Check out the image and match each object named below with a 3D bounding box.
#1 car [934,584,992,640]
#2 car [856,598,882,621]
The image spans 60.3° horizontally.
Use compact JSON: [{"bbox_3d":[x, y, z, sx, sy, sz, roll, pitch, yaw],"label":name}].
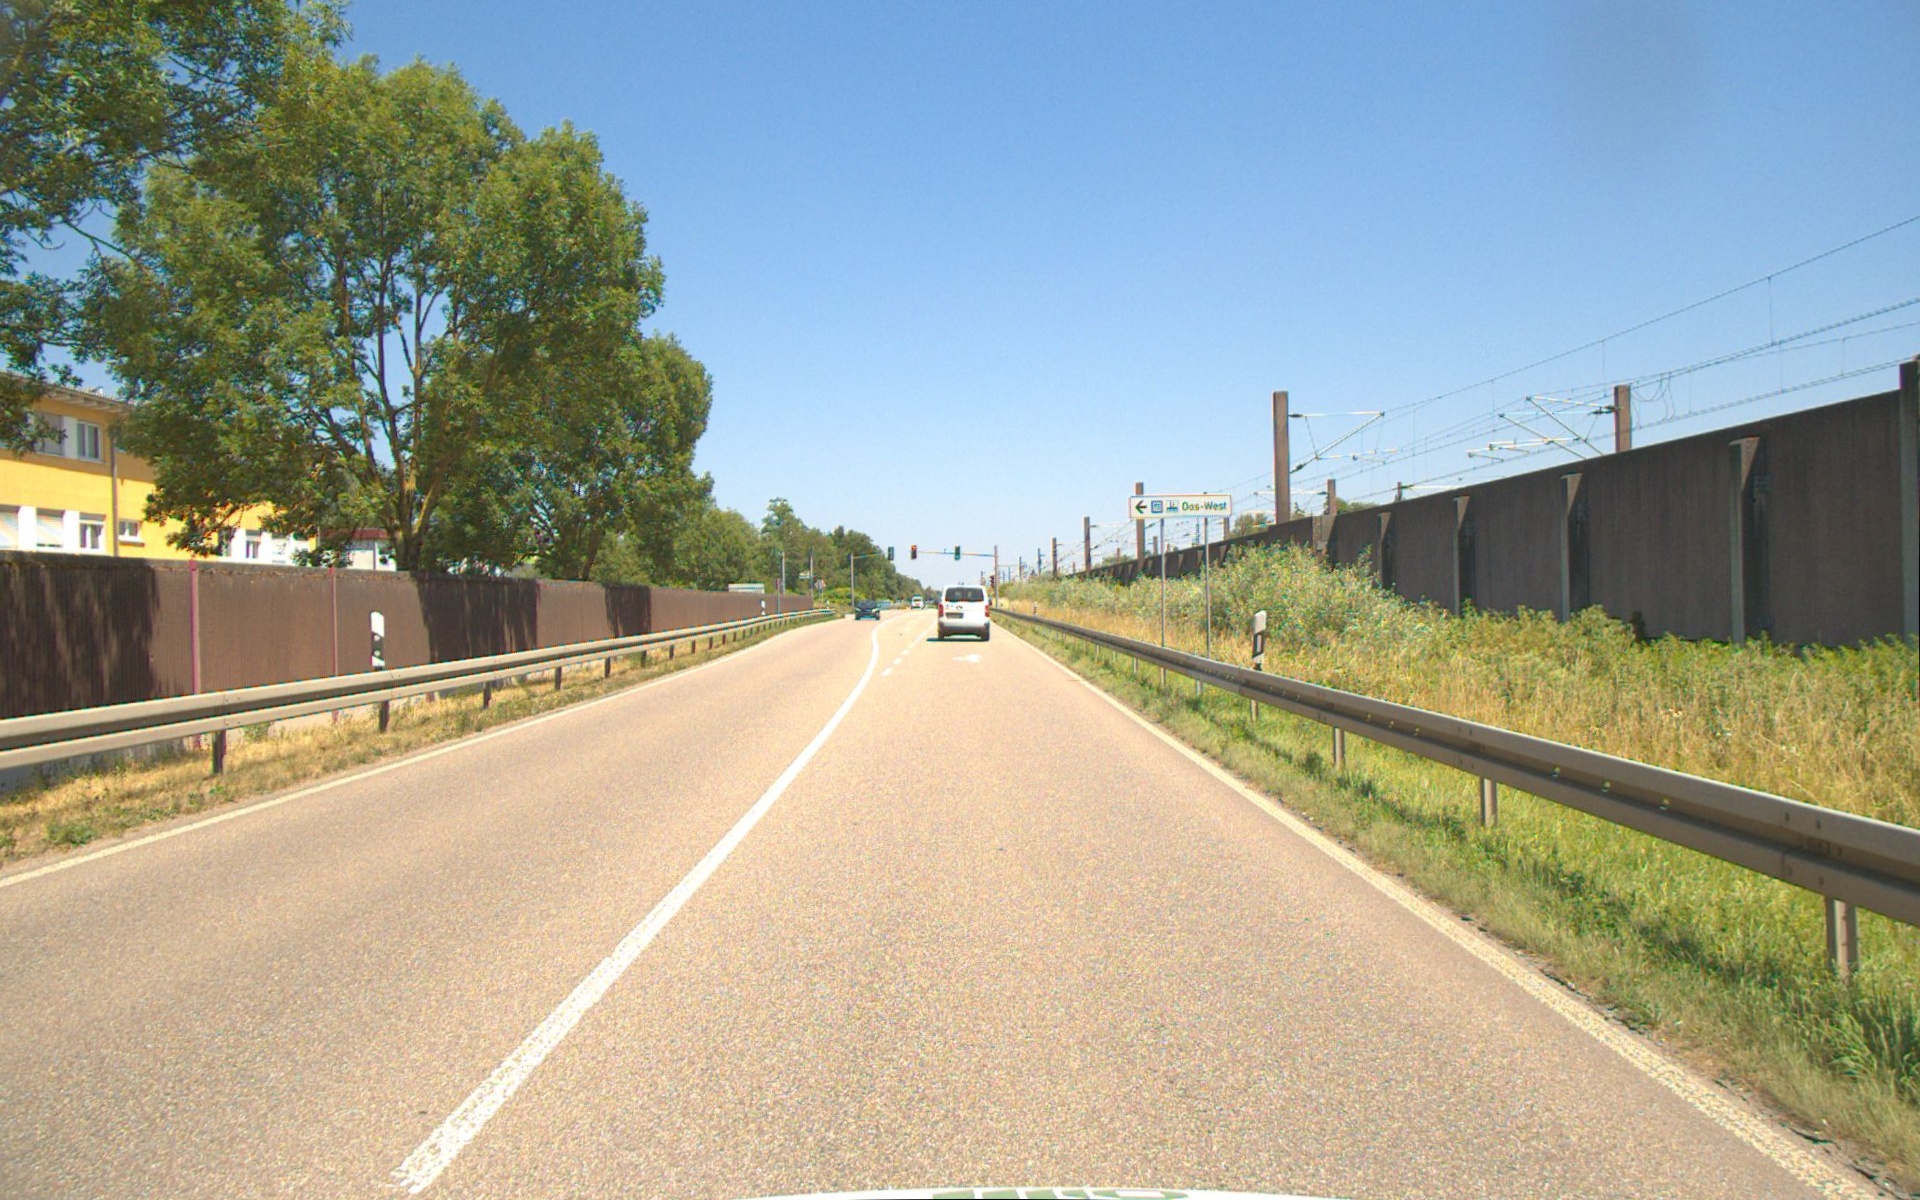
[{"bbox_3d":[0.104,0.399,58.732,1.953,1.882,4.000,1,0,0],"label":"car"},{"bbox_3d":[-6.641,0.702,120.670,1.782,1.624,3.999,1,0,-2],"label":"car"}]
